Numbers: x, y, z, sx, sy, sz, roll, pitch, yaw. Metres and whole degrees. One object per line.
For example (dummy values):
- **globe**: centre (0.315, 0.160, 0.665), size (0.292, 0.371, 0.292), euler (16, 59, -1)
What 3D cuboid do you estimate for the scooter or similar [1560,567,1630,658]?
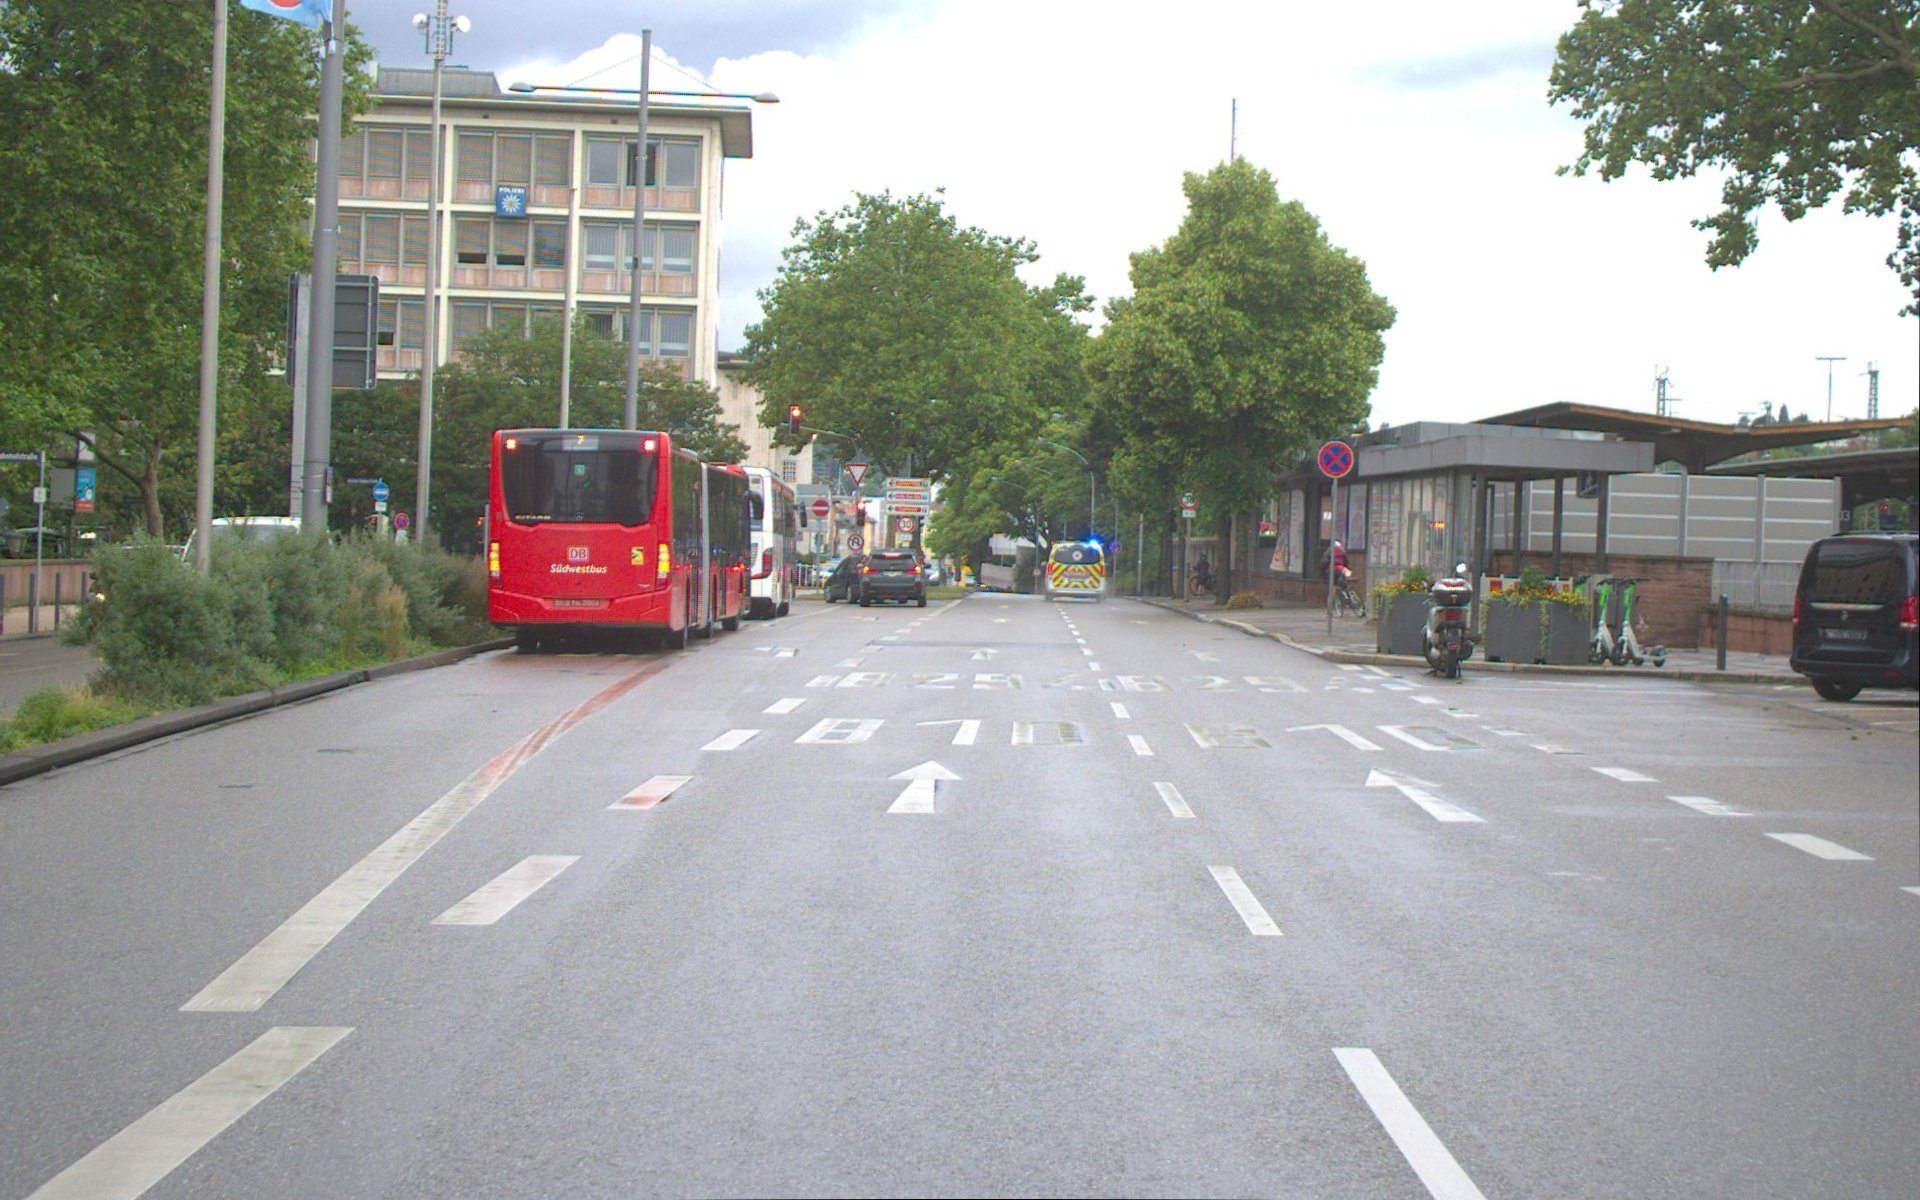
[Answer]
- **scooter or similar**: centre (8.324, 0.168, 45.054), size (0.413, 1.151, 1.261), euler (4, 1, 32)

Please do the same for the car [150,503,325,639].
- **car**: centre (-11.002, -0.464, 52.661), size (1.920, 1.967, 4.856), euler (0, 1, -3)

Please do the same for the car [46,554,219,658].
- **car**: centre (-13.131, 0.053, 54.820), size (1.790, 1.573, 4.740), euler (0, 1, -2)

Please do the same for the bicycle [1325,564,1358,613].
- **bicycle**: centre (8.120, -0.247, 73.213), size (0.446, 1.013, 1.677), euler (-2, 1, -1)

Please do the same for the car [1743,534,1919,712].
- **car**: centre (11.208, 0.221, 38.122), size (4.684, 1.868, 2.109), euler (0, 1, -28)

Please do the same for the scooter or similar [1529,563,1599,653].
- **scooter or similar**: centre (7.969, 0.116, 45.323), size (0.413, 1.151, 1.261), euler (4, 1, 32)

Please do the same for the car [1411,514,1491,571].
- **car**: centre (16.548, -1.936, 116.051), size (1.993, 1.865, 4.598), euler (0, 1, -1)

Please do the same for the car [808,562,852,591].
- **car**: centre (-6.271, -1.129, 166.038), size (1.691, 1.293, 4.092), euler (2, 0, 3)

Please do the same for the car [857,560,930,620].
- **car**: centre (-1.848, -0.291, 95.768), size (1.964, 1.634, 4.359), euler (0, 1, -1)

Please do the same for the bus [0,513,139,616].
- **bus**: centre (-32.087, -0.973, 109.685), size (11.947, 3.009, 2.886), euler (-2, -1, 22)

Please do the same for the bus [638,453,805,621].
- **bus**: centre (-5.199, -1.385, 77.172), size (2.955, 3.427, 12.560), euler (1, 1, -1)

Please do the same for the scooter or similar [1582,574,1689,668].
- **scooter or similar**: centre (8.921, 0.269, 45.469), size (1.065, 1.151, 1.667), euler (3, 1, 1)

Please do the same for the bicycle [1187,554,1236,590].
- **bicycle**: centre (8.915, -0.992, 121.892), size (1.723, 1.244, 0.485), euler (0, 0, 32)

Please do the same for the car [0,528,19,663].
- **car**: centre (-12.939, -0.047, 41.432), size (1.993, 1.674, 4.102), euler (0, 1, 1)

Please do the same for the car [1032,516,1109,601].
- **car**: centre (3.519, -1.346, 110.014), size (2.264, 2.647, 4.000), euler (0, 1, -1)

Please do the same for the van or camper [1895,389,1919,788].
- **van or camper**: centre (10.159, -0.070, 25.431), size (6.508, 2.859, 2.280), euler (0, 1, -29)

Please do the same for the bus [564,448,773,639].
- **bus**: centre (-5.045, -1.002, 61.079), size (2.752, 3.122, 8.843), euler (0, 1, 1)

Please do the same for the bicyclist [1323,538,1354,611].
- **bicyclist**: centre (8.062, -0.548, 73.198), size (0.533, 1.533, 0.694), euler (-1, 0, -2)

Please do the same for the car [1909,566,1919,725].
- **car**: centre (11.095, 0.447, 33.000), size (3.578, 1.519, 1.763), euler (0, 1, -28)

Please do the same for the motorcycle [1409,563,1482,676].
- **motorcycle**: centre (5.990, 0.223, 42.488), size (0.643, 1.347, 2.109), euler (1, 1, 1)

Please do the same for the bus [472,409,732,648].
- **bus**: centre (-5.202, -1.062, 51.771), size (2.810, 3.234, 9.913), euler (1, 1, 0)
